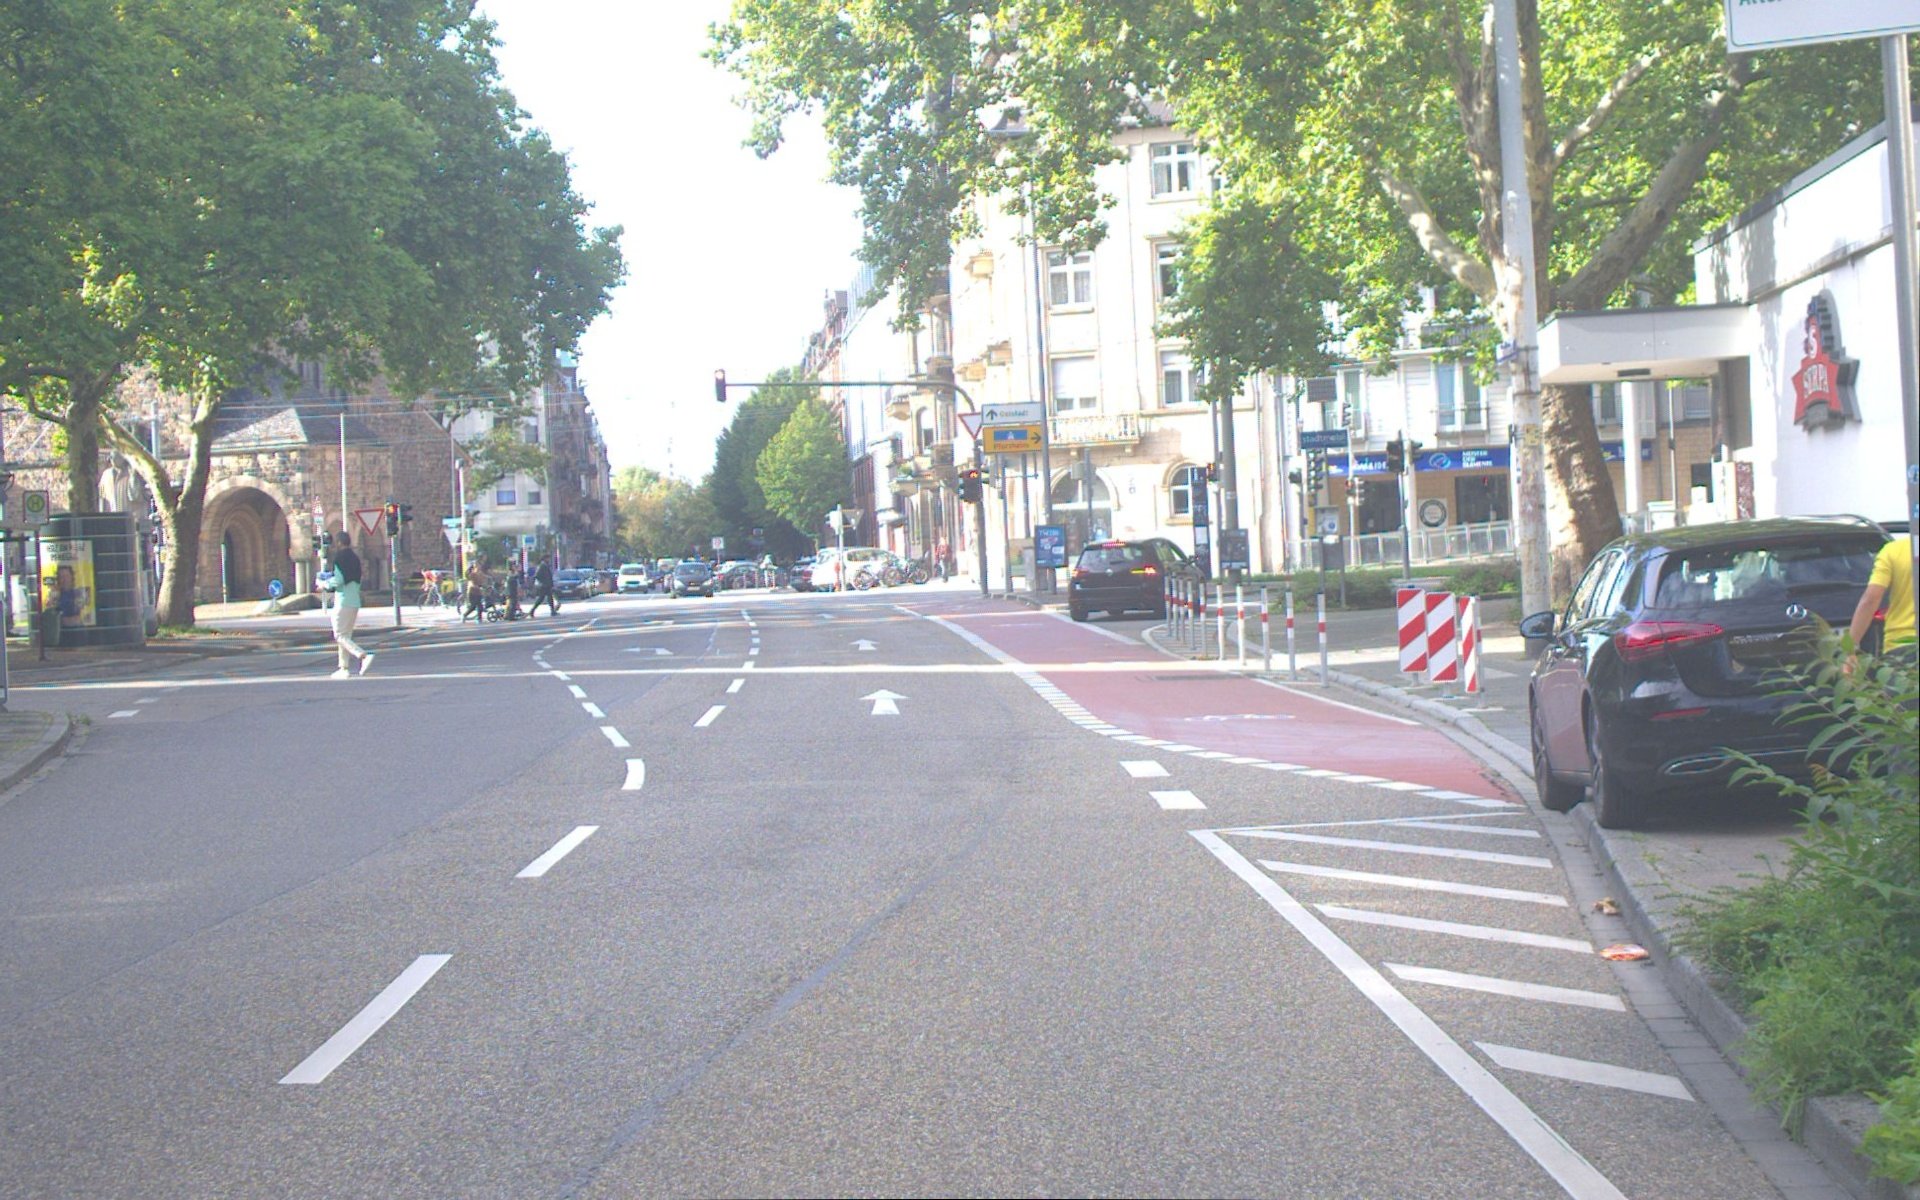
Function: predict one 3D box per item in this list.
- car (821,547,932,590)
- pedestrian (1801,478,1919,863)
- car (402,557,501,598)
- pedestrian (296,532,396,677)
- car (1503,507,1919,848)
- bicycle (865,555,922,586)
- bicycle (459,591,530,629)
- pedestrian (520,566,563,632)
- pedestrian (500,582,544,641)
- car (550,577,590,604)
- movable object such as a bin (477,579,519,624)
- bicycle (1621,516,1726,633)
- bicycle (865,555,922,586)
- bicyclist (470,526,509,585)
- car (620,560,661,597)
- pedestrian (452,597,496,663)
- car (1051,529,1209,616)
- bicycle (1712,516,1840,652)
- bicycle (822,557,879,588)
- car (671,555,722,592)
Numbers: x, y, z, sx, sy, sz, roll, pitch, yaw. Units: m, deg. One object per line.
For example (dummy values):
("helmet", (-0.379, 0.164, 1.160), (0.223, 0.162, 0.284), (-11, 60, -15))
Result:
("car", (-3.206, -1.209, 131.584), (3.986, 1.415, 2.000), (-3, 1, -7))
("pedestrian", (3.944, 0.266, 14.204), (0.652, 1.533, 0.743), (-4, 1, -1))
("car", (-22.852, -1.013, 154.600), (3.989, 1.590, 1.868), (-4, 2, -43))
("pedestrian", (-7.631, 0.049, 42.698), (1.074, 1.747, 0.919), (-2, 1, -17))
("car", (3.884, 0.296, 17.279), (1.761, 1.407, 4.233), (-4, 1, 3))
("bicycle", (-2.507, -1.112, 129.920), (2.022, 1.078, 0.631), (-3, 1, -13))
("bicycle", (-12.678, 0.278, 93.538), (1.832, 0.952, 0.572), (-2, 1, 22))
("pedestrian", (-10.838, -0.035, 88.999), (0.781, 1.656, 0.778), (-2, 1, 19))
("pedestrian", (-11.125, 0.289, 87.269), (0.782, 1.427, 0.730), (-2, 1, 21))
("car", (-18.623, -0.461, 164.318), (1.550, 1.225, 3.588), (-2, 1, -1))
("movable object such as a bin", (-11.901, 0.041, 88.554), (0.838, 1.120, 0.575), (-2, 1, 19))
("bicycle", (7.924, -0.283, 38.253), (0.712, 1.202, 1.815), (-6, 0, 1))
("bicycle", (-2.507, -1.121, 129.258), (2.022, 1.078, 0.620), (-3, 1, -13))
("bicyclist", (-12.816, -1.206, 93.587), (0.779, 1.574, 0.625), (-2, 1, 22))
("car", (-18.568, -1.250, 199.896), (1.993, 2.007, 4.000), (-2, 1, -1))
("pedestrian", (-12.554, 0.772, 88.826), (0.815, 1.623, 0.604), (-4, 1, 21))
("car", (3.071, -0.510, 61.316), (1.753, 1.409, 3.997), (-2, 1, 18))
("bicycle", (7.724, -0.169, 32.616), (0.769, 1.202, 1.815), (-4, 1, 2))
("bicycle", (-4.106, -1.025, 129.161), (2.022, 1.078, 0.620), (-3, 1, -13))
("car", (-10.644, -1.085, 139.019), (1.949, 1.367, 4.001), (-3, 1, -4))
